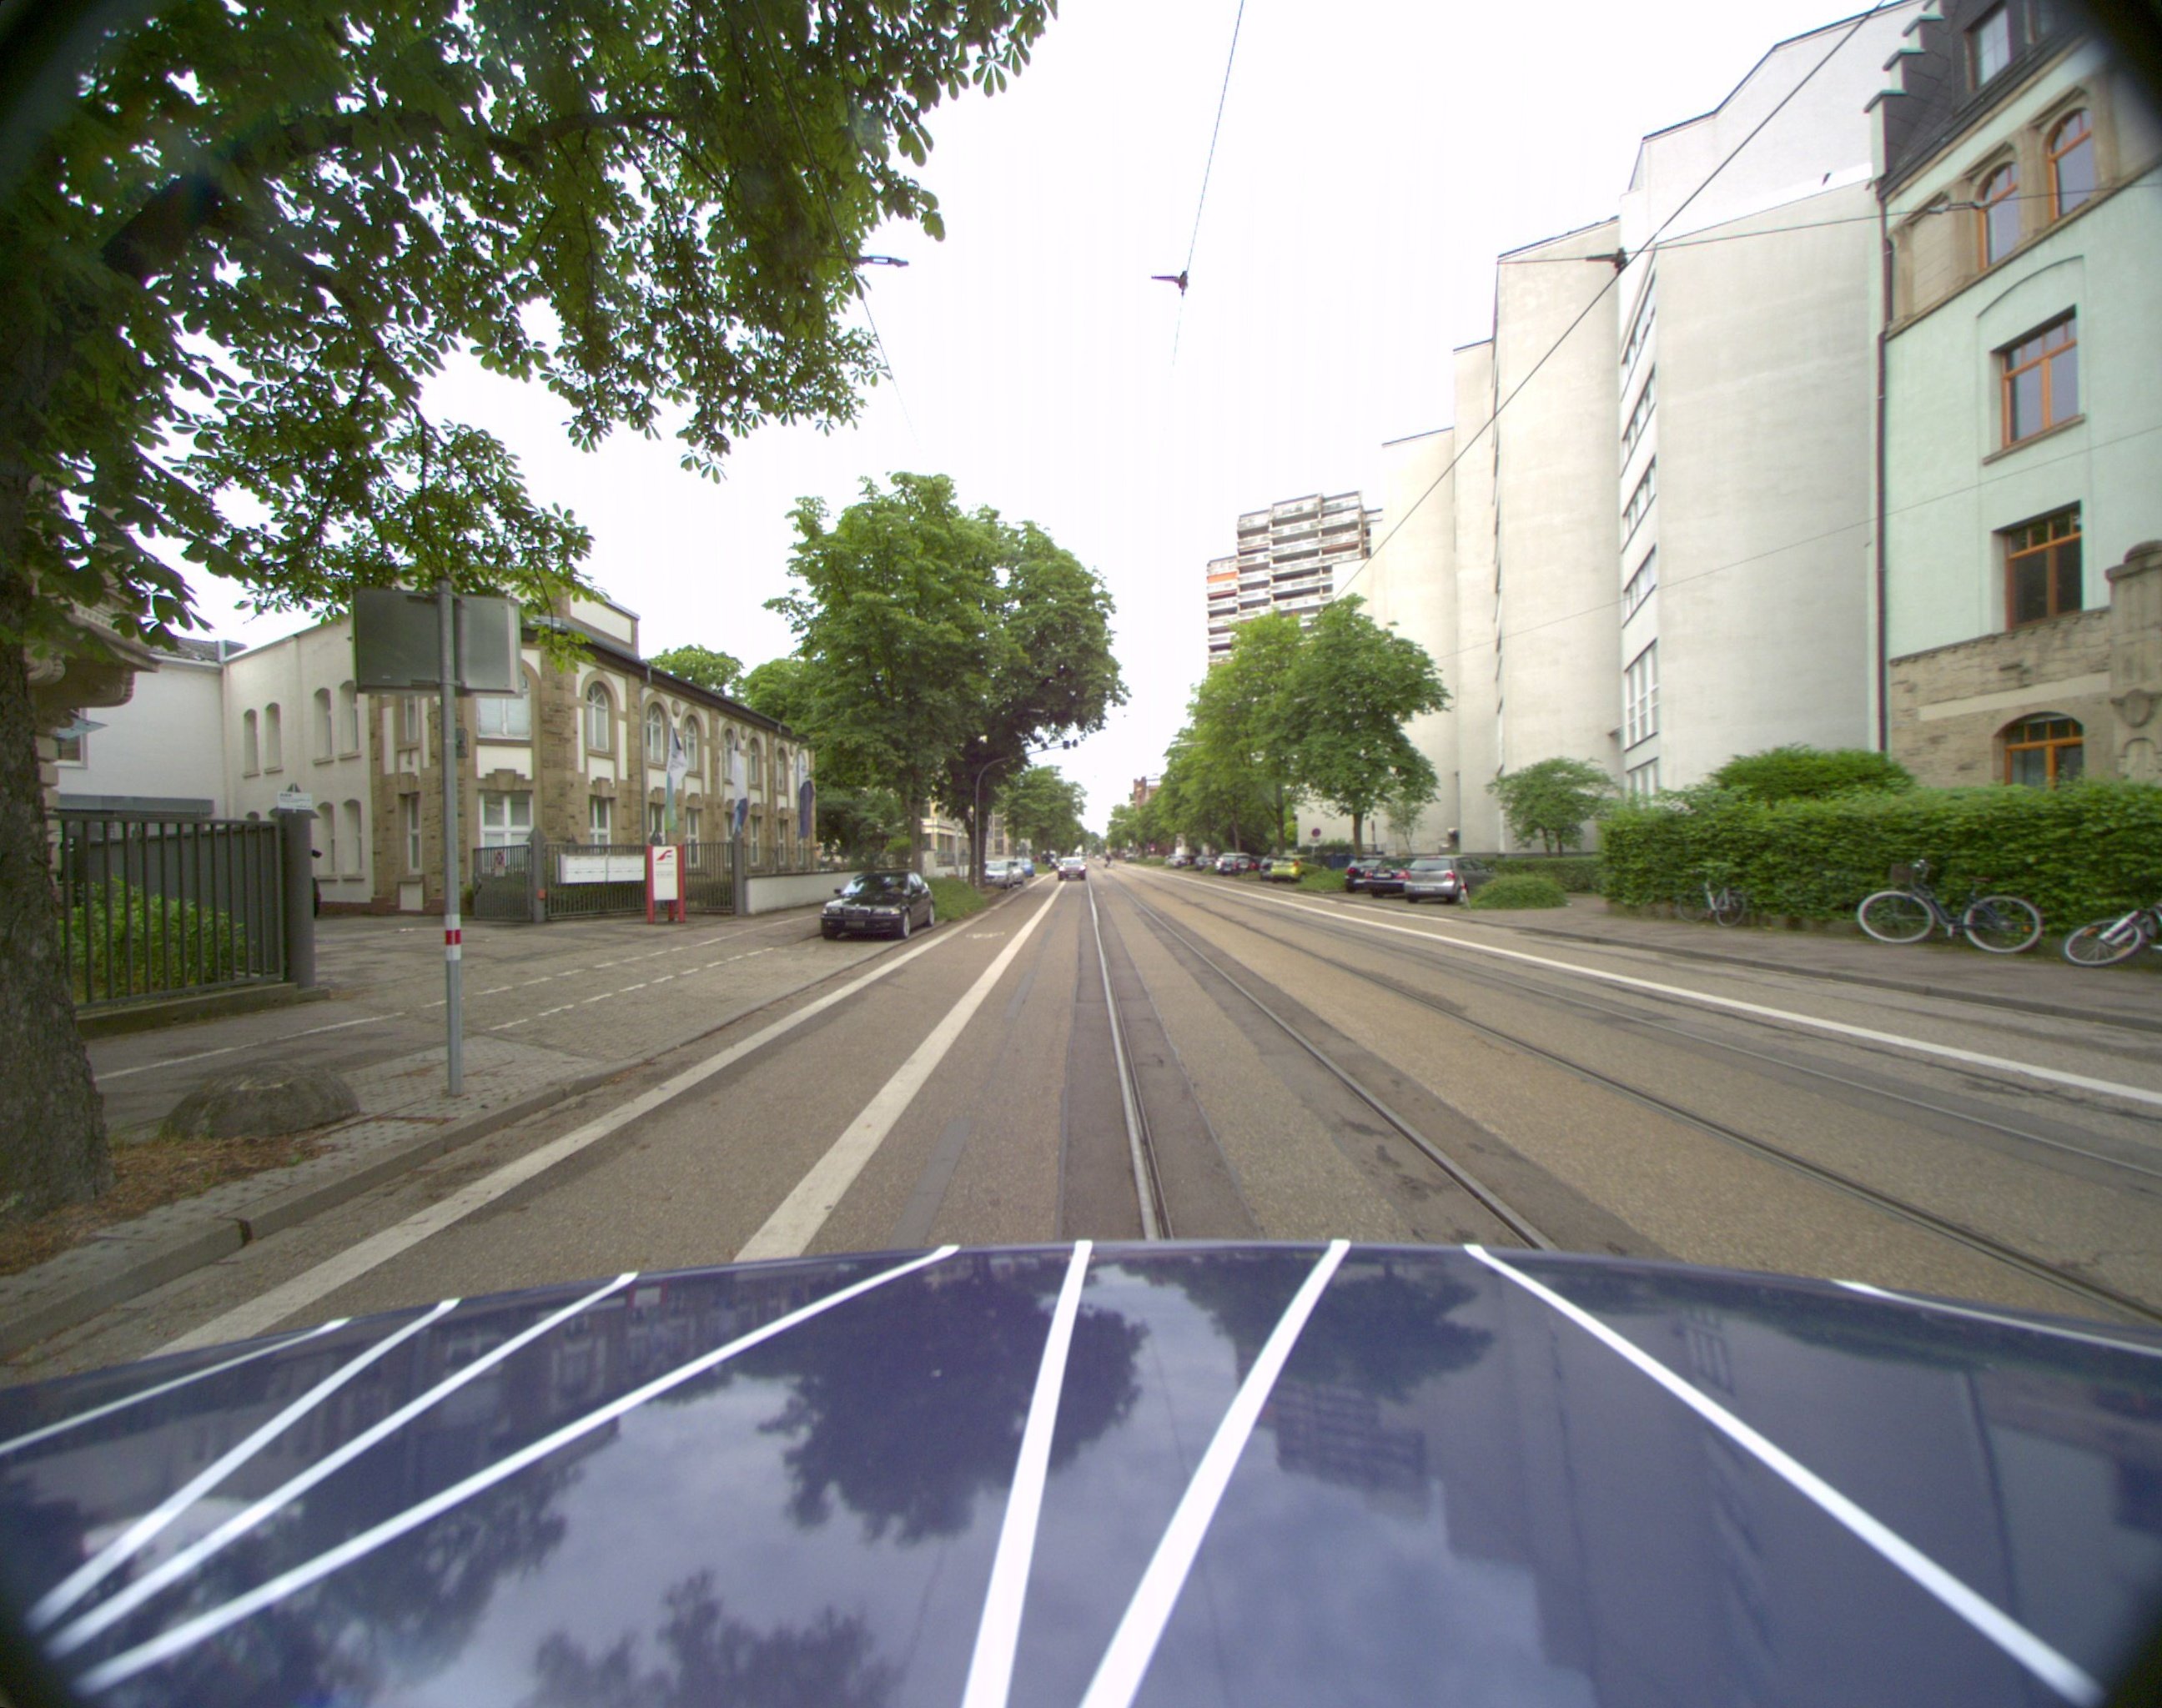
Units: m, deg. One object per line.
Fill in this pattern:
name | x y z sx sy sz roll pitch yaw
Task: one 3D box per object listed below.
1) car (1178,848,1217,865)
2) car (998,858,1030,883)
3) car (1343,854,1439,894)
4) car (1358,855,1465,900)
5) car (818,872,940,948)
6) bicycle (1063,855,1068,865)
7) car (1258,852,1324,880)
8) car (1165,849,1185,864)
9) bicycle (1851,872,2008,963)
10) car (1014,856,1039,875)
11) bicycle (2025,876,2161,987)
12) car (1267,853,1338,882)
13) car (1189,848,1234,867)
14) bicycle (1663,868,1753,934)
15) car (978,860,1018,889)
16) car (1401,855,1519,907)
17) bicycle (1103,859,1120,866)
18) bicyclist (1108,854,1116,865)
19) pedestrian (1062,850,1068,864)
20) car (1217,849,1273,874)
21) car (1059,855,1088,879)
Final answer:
car | 11.550 0.195 75.338 4.008 1.611 1.690 -1 1 -43
car | -4.058 0.973 46.485 1.606 1.416 3.837 1 0 1
car | 11.904 0.713 29.085 4.008 1.395 1.691 -1 0 -39
car | 11.341 0.749 25.981 4.008 1.395 1.691 -1 0 -39
car | -4.314 1.140 16.773 1.606 1.362 3.837 1 0 1
bicycle | -1.768 0.673 85.762 0.414 1.197 1.707 -1 0 1
car | 11.729 0.620 42.367 4.008 1.434 1.690 -1 1 -43
car | 10.540 0.252 85.643 1.694 1.611 3.999 -1 0 -1
bicycle | 11.166 0.794 10.071 0.360 1.077 1.546 -1 0 1
car | -4.186 0.884 58.999 1.606 1.362 3.837 1 0 1
bicycle | 11.063 0.801 7.990 0.360 1.077 1.546 -1 0 1
car | 11.478 0.670 39.319 4.008 1.387 1.690 -1 0 -43
car | 11.376 0.309 66.035 4.008 1.611 1.690 -1 1 -43
bicycle | 11.185 0.804 13.611 0.360 1.077 1.546 -1 0 1
car | -4.244 1.022 39.346 1.606 1.362 3.837 1 0 1
car | 11.552 0.759 23.088 4.008 1.395 1.691 -1 0 -39
bicycle | 3.570 0.958 88.910 1.889 0.784 0.568 -1 1 -2
bicyclist | 3.603 0.655 88.929 0.875 1.247 0.752 -1 1 -2
pedestrian | -1.790 0.347 85.584 0.684 1.541 0.704 -1 1 1
car | 11.264 0.481 52.095 4.008 1.611 1.690 -1 1 -43
car | -0.448 0.804 48.985 1.606 1.427 3.777 -3 0 2
